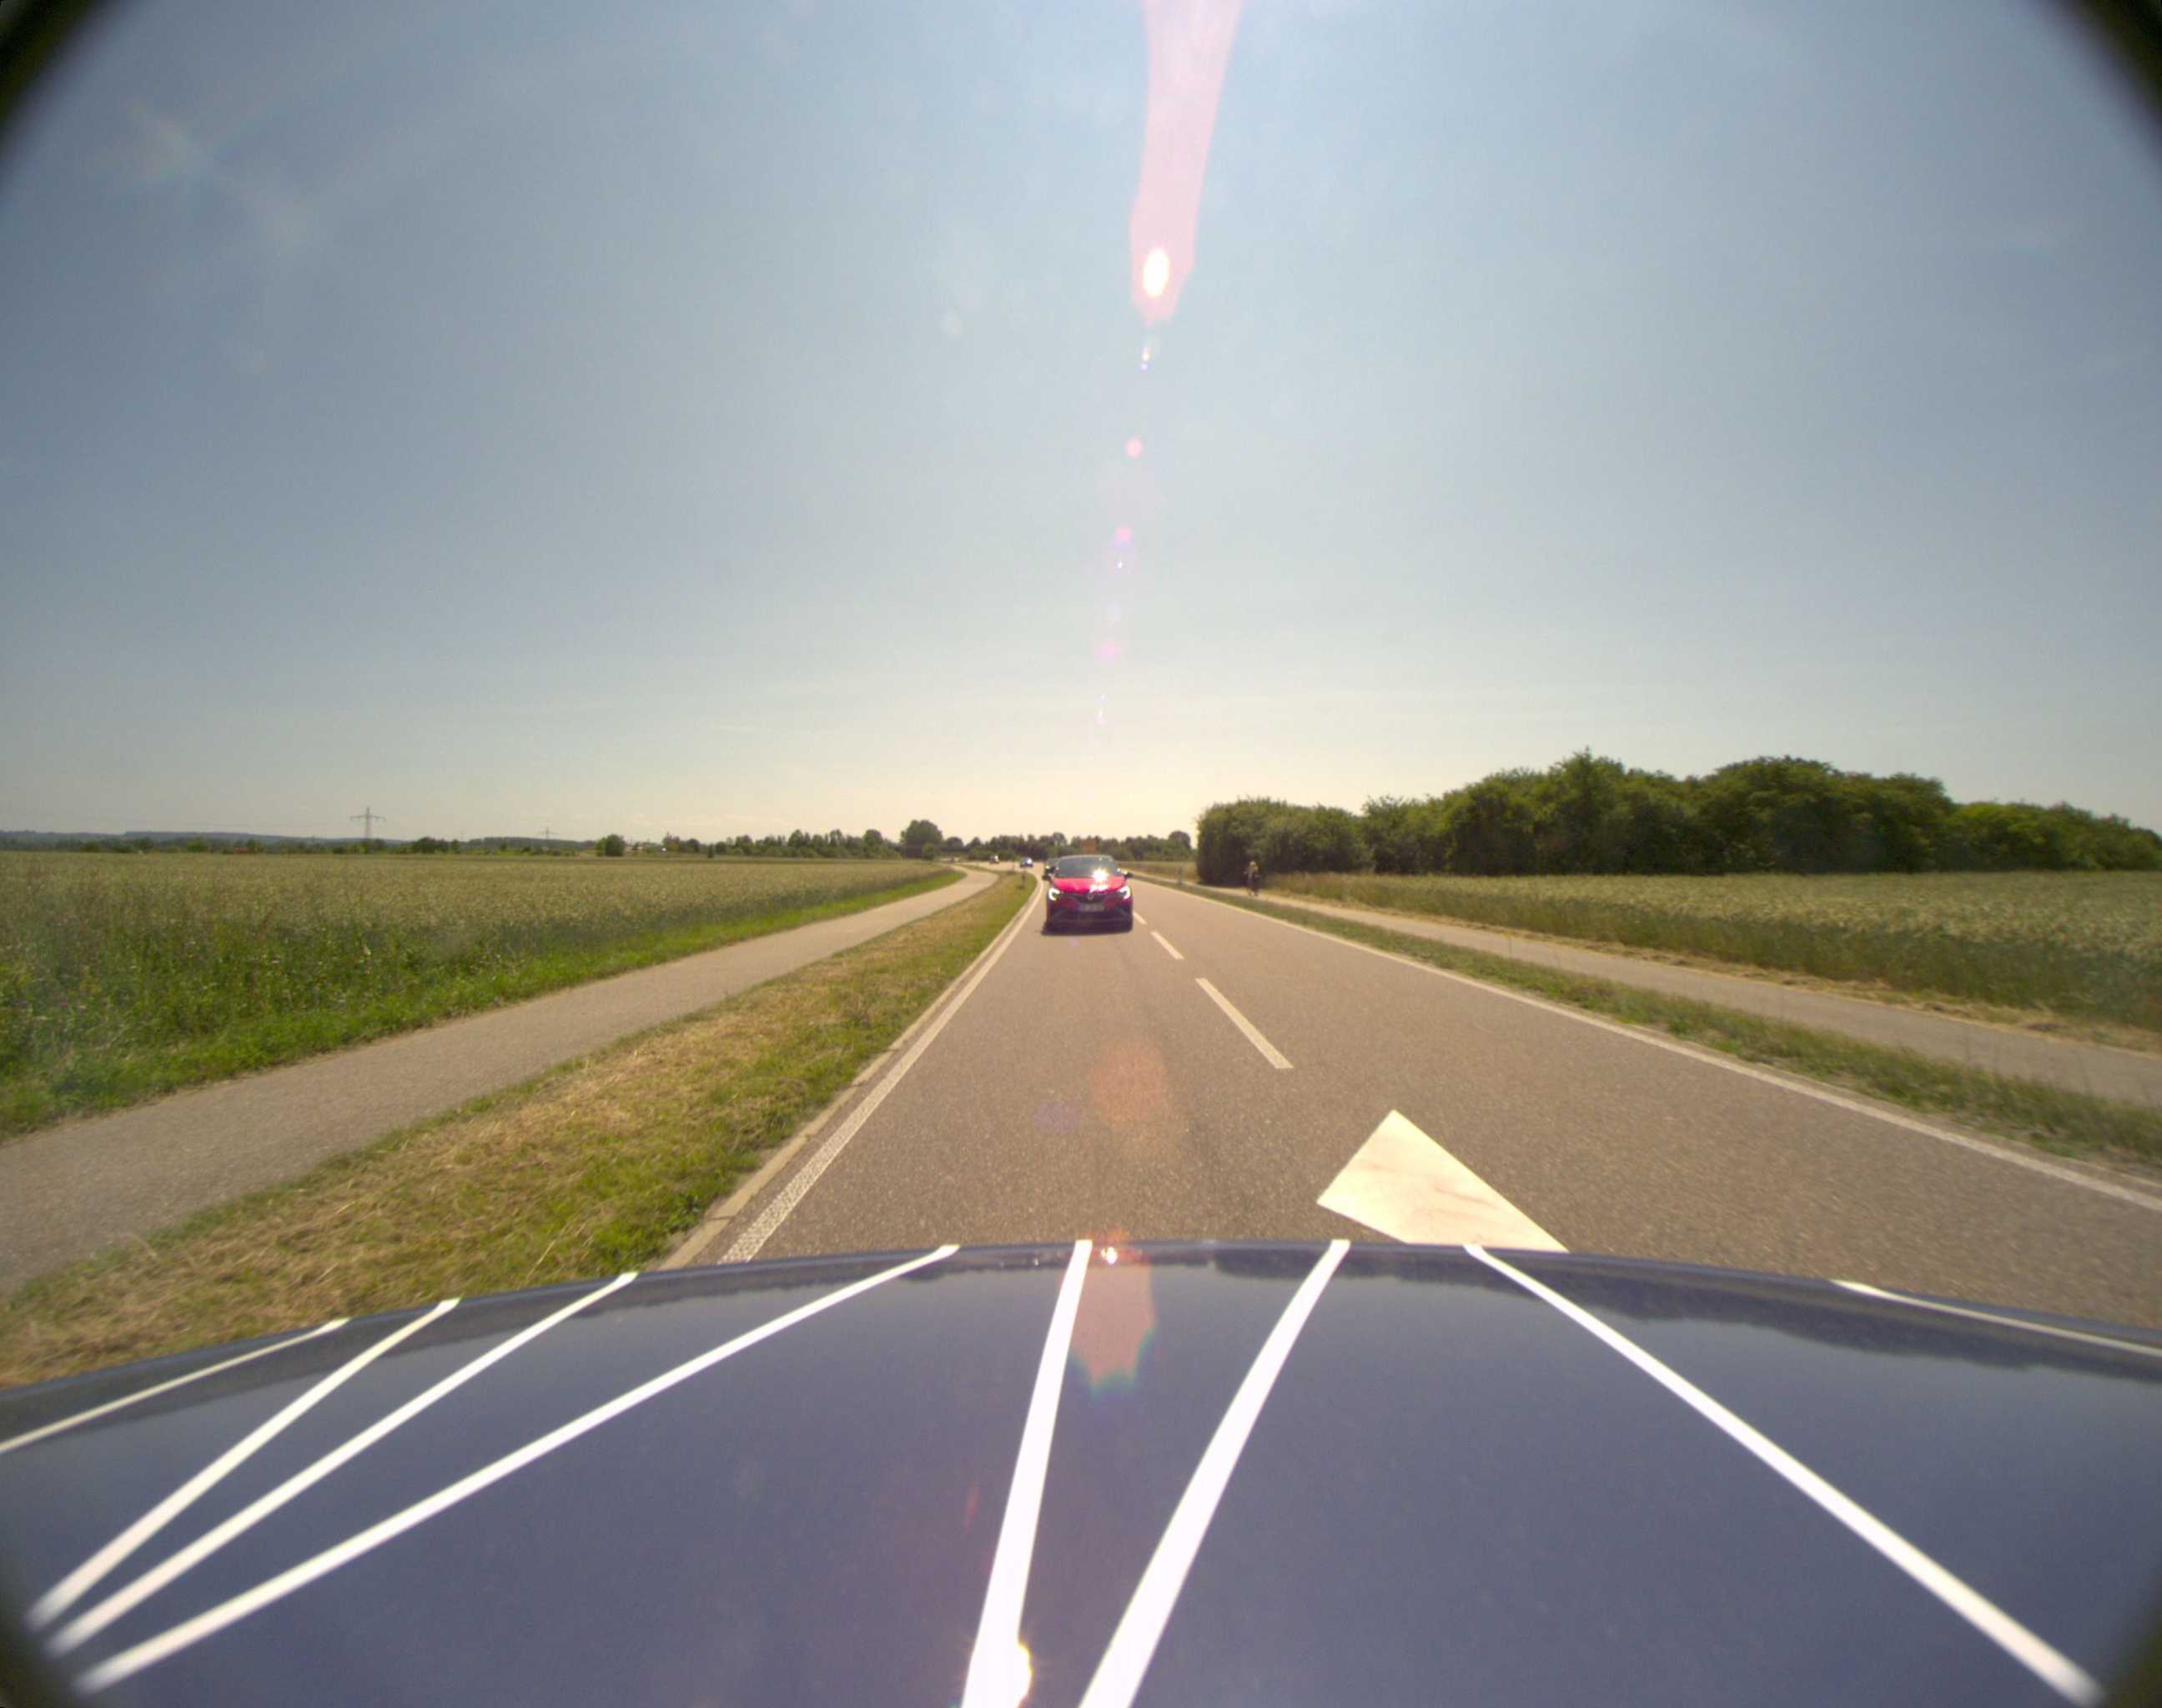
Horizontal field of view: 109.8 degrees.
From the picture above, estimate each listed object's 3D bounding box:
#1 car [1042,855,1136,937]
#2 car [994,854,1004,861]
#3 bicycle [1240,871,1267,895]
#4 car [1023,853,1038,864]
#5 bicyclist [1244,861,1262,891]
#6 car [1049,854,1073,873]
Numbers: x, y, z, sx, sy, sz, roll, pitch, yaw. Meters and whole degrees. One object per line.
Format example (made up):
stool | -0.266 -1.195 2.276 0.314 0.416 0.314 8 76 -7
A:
car | 0.142 0.846 17.534 1.837 1.587 4.721 -1 0 0
car | -18.203 0.742 168.252 1.985 1.587 5.397 -1 0 -9
bicycle | 8.685 1.445 38.321 0.696 1.169 1.962 1 0 -6
car | -7.730 0.712 115.811 1.984 1.587 5.398 -1 0 -7
bicyclist | 8.644 1.100 38.259 0.665 1.430 0.822 -1 1 -3
car | -1.812 0.778 66.982 1.983 1.587 5.400 -1 0 -2
